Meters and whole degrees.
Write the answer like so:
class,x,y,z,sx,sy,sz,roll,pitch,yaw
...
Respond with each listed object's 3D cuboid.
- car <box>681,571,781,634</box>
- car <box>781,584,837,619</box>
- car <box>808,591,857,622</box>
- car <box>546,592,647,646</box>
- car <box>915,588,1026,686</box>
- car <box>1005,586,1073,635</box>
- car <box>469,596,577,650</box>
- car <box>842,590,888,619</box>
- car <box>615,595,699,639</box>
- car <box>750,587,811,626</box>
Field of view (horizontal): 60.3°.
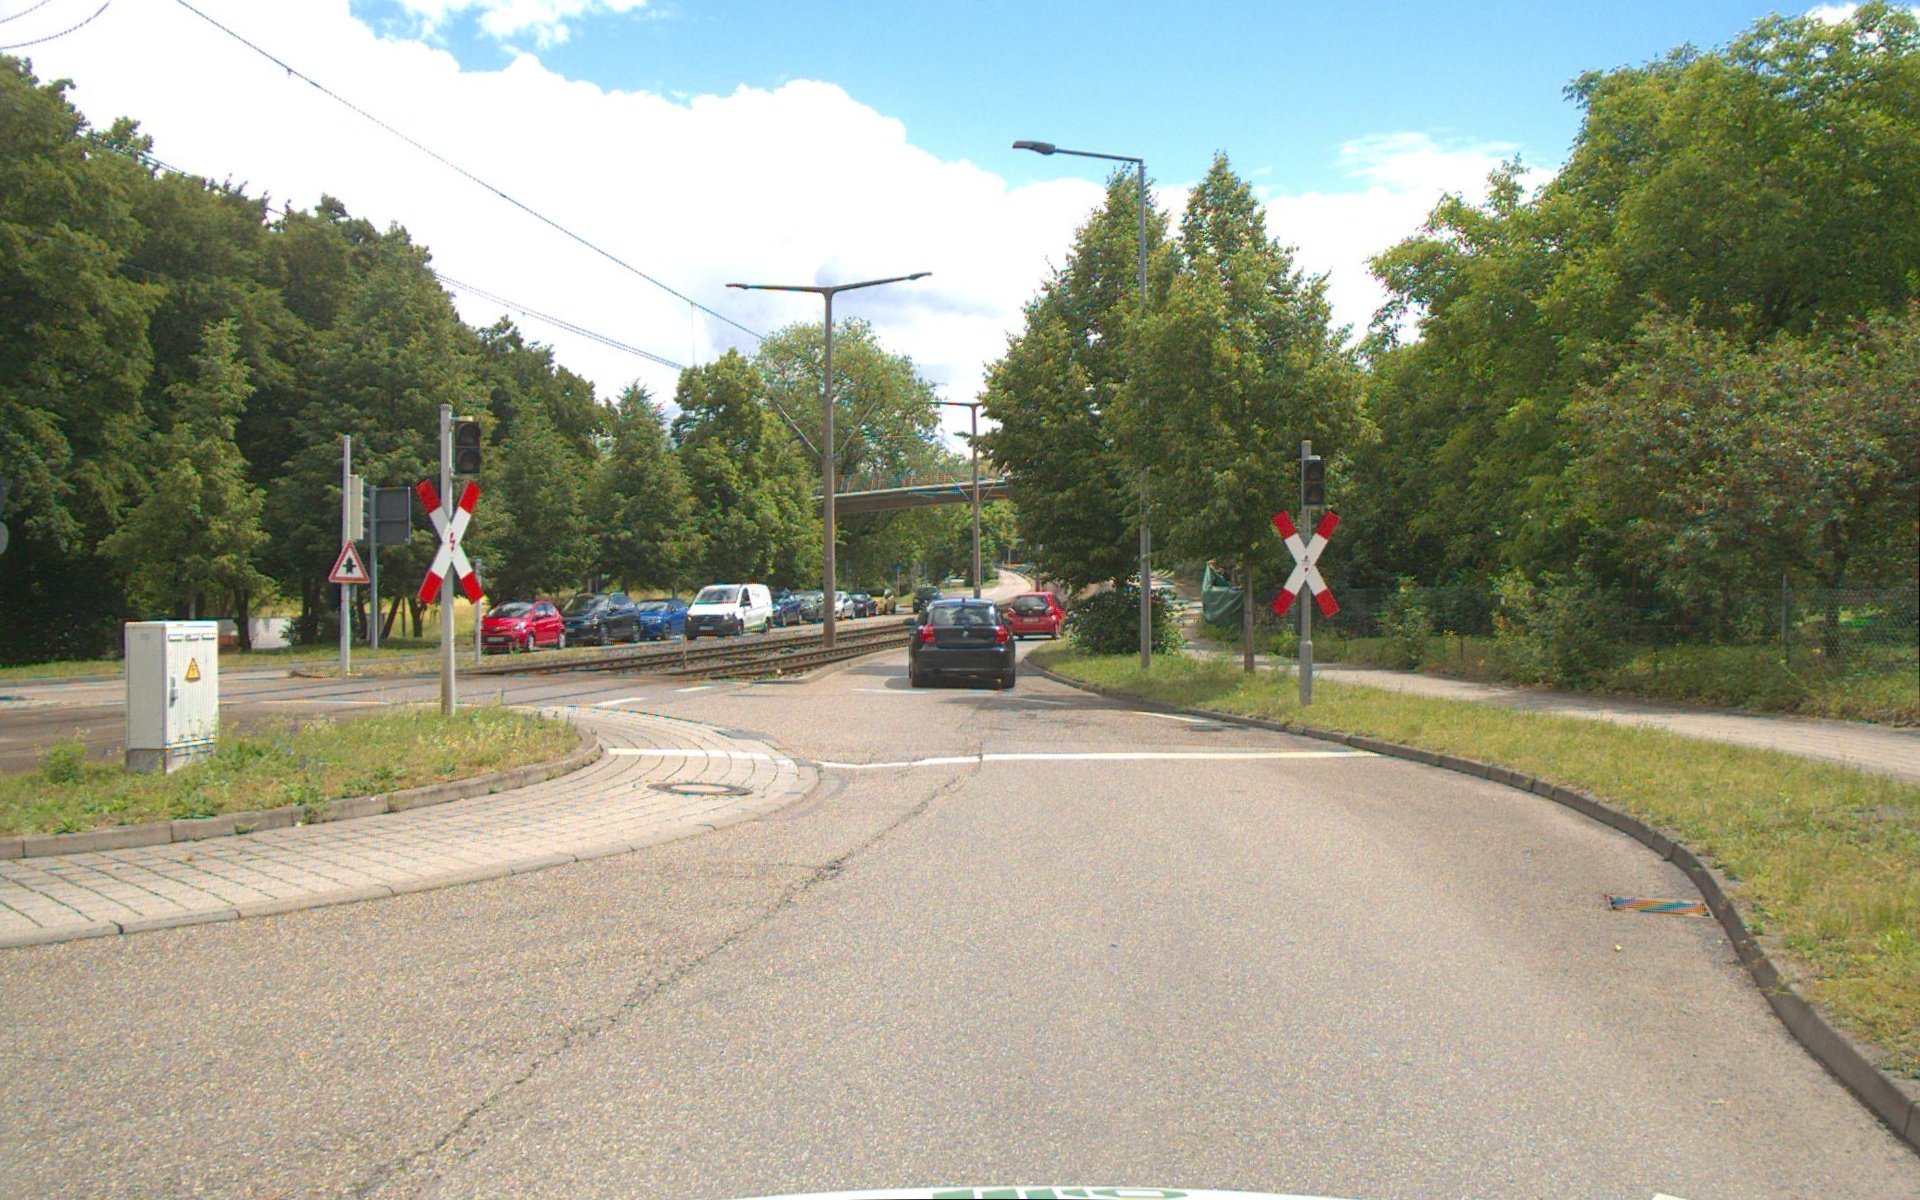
class,x,y,z,sx,sy,sz,roll,pitch,yaw
car,-7.871,0.142,57.339,1.835,2.054,5.239,1,-1,10
car,-7.205,0.075,79.035,1.607,1.651,4.129,-1,0,10
car,-6.479,0.334,84.528,1.559,1.520,4.195,1,0,8
car,-11.618,0.635,53.143,1.546,1.633,4.378,1,-1,10
car,0.114,0.571,27.965,1.674,1.485,3.958,1,1,-2
car,2.490,0.339,51.586,1.589,1.469,3.424,1,-1,11
car,-12.604,0.680,47.874,1.578,1.477,3.664,1,-1,10
car,-5.232,0.269,91.753,1.653,1.476,3.901,1,-1,10
car,-10.655,0.620,58.431,1.578,1.486,4.010,1,-1,10
car,-7.899,0.320,72.966,1.524,1.624,4.163,1,-1,10
